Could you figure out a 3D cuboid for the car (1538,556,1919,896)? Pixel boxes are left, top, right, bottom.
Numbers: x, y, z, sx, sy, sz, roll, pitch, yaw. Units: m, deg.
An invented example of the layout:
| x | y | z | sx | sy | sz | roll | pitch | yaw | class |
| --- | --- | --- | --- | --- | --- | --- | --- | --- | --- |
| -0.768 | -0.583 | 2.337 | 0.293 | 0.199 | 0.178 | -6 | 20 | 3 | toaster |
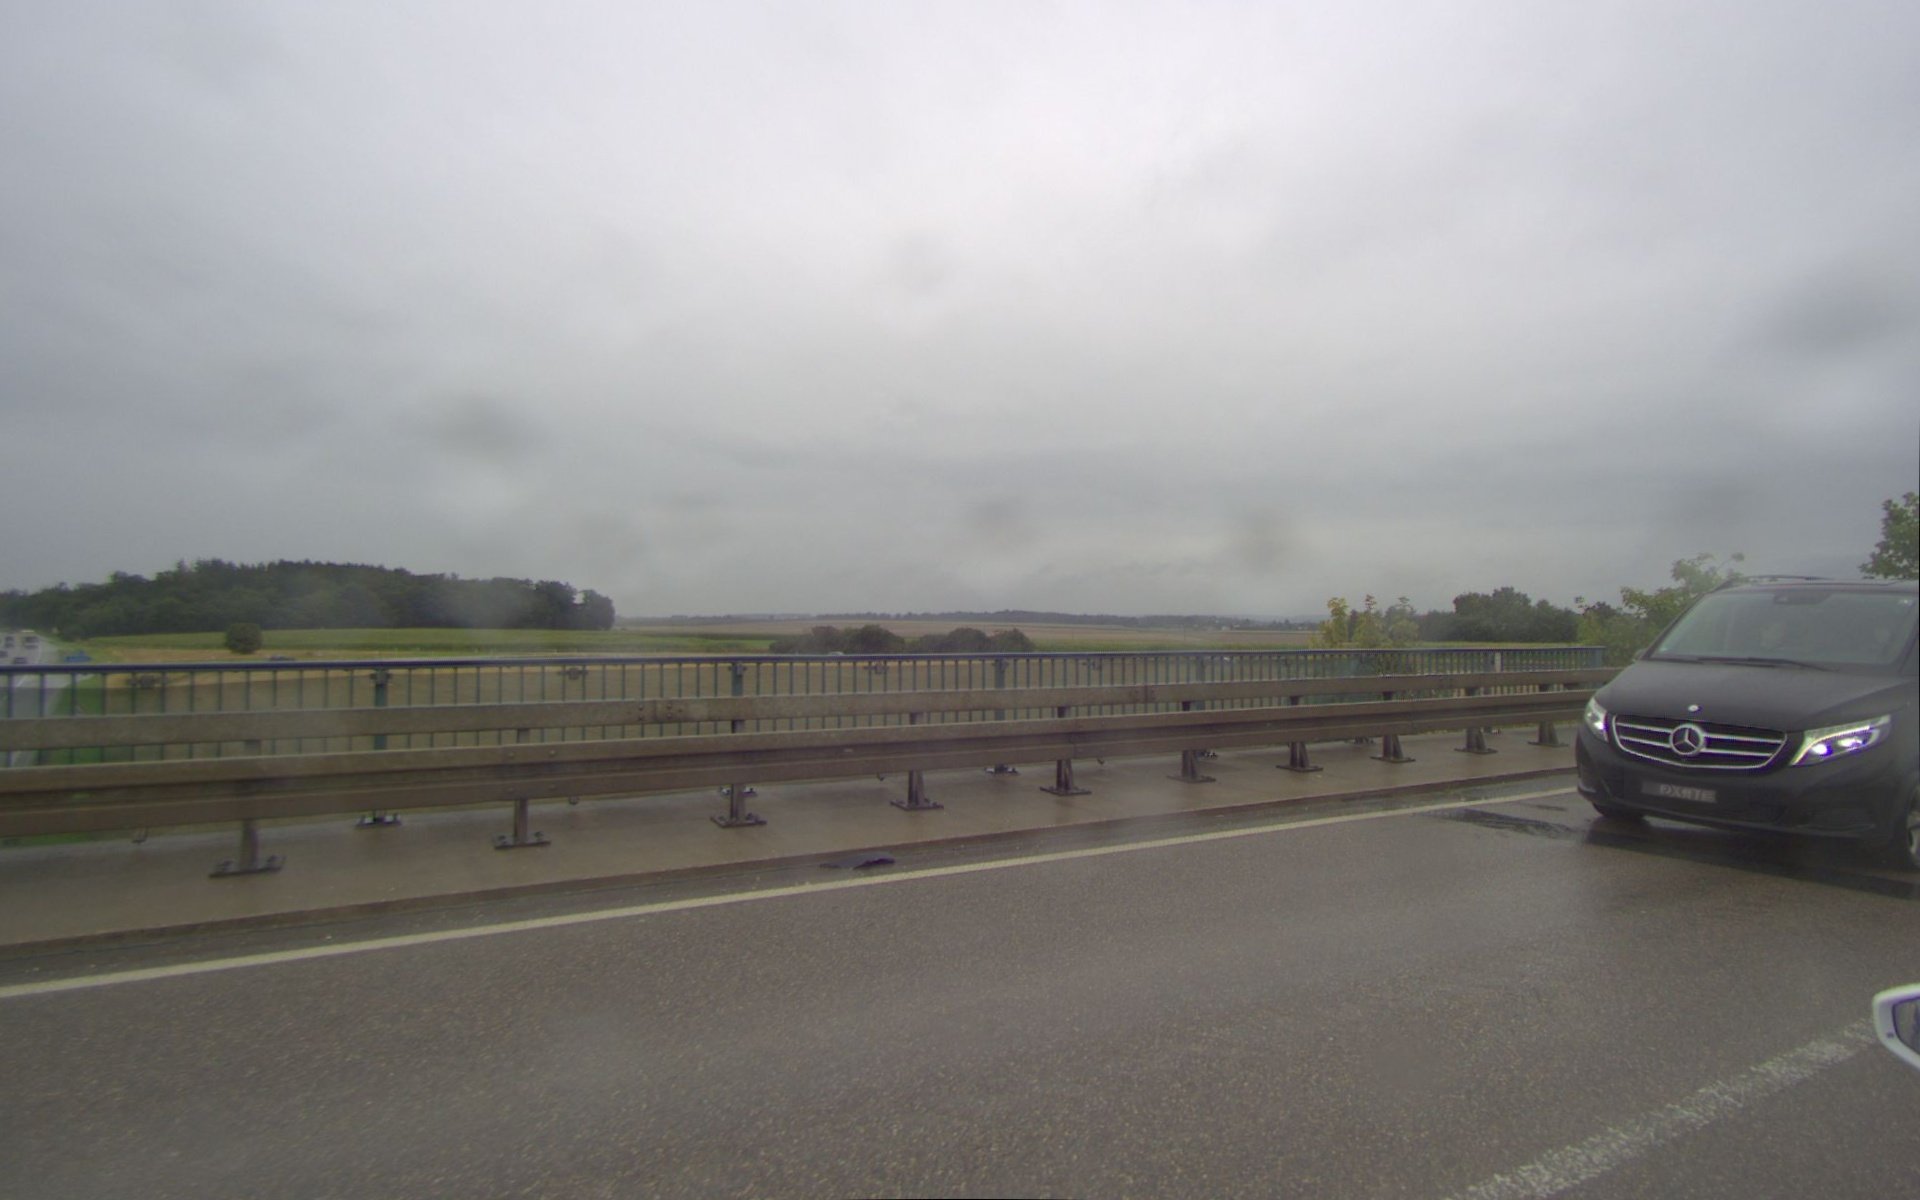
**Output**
| x | y | z | sx | sy | sz | roll | pitch | yaw | class |
| --- | --- | --- | --- | --- | --- | --- | --- | --- | --- |
| 6.833 | 0.730 | 7.573 | 4.869 | 1.861 | 2.058 | 1 | -1 | -28 | car |
